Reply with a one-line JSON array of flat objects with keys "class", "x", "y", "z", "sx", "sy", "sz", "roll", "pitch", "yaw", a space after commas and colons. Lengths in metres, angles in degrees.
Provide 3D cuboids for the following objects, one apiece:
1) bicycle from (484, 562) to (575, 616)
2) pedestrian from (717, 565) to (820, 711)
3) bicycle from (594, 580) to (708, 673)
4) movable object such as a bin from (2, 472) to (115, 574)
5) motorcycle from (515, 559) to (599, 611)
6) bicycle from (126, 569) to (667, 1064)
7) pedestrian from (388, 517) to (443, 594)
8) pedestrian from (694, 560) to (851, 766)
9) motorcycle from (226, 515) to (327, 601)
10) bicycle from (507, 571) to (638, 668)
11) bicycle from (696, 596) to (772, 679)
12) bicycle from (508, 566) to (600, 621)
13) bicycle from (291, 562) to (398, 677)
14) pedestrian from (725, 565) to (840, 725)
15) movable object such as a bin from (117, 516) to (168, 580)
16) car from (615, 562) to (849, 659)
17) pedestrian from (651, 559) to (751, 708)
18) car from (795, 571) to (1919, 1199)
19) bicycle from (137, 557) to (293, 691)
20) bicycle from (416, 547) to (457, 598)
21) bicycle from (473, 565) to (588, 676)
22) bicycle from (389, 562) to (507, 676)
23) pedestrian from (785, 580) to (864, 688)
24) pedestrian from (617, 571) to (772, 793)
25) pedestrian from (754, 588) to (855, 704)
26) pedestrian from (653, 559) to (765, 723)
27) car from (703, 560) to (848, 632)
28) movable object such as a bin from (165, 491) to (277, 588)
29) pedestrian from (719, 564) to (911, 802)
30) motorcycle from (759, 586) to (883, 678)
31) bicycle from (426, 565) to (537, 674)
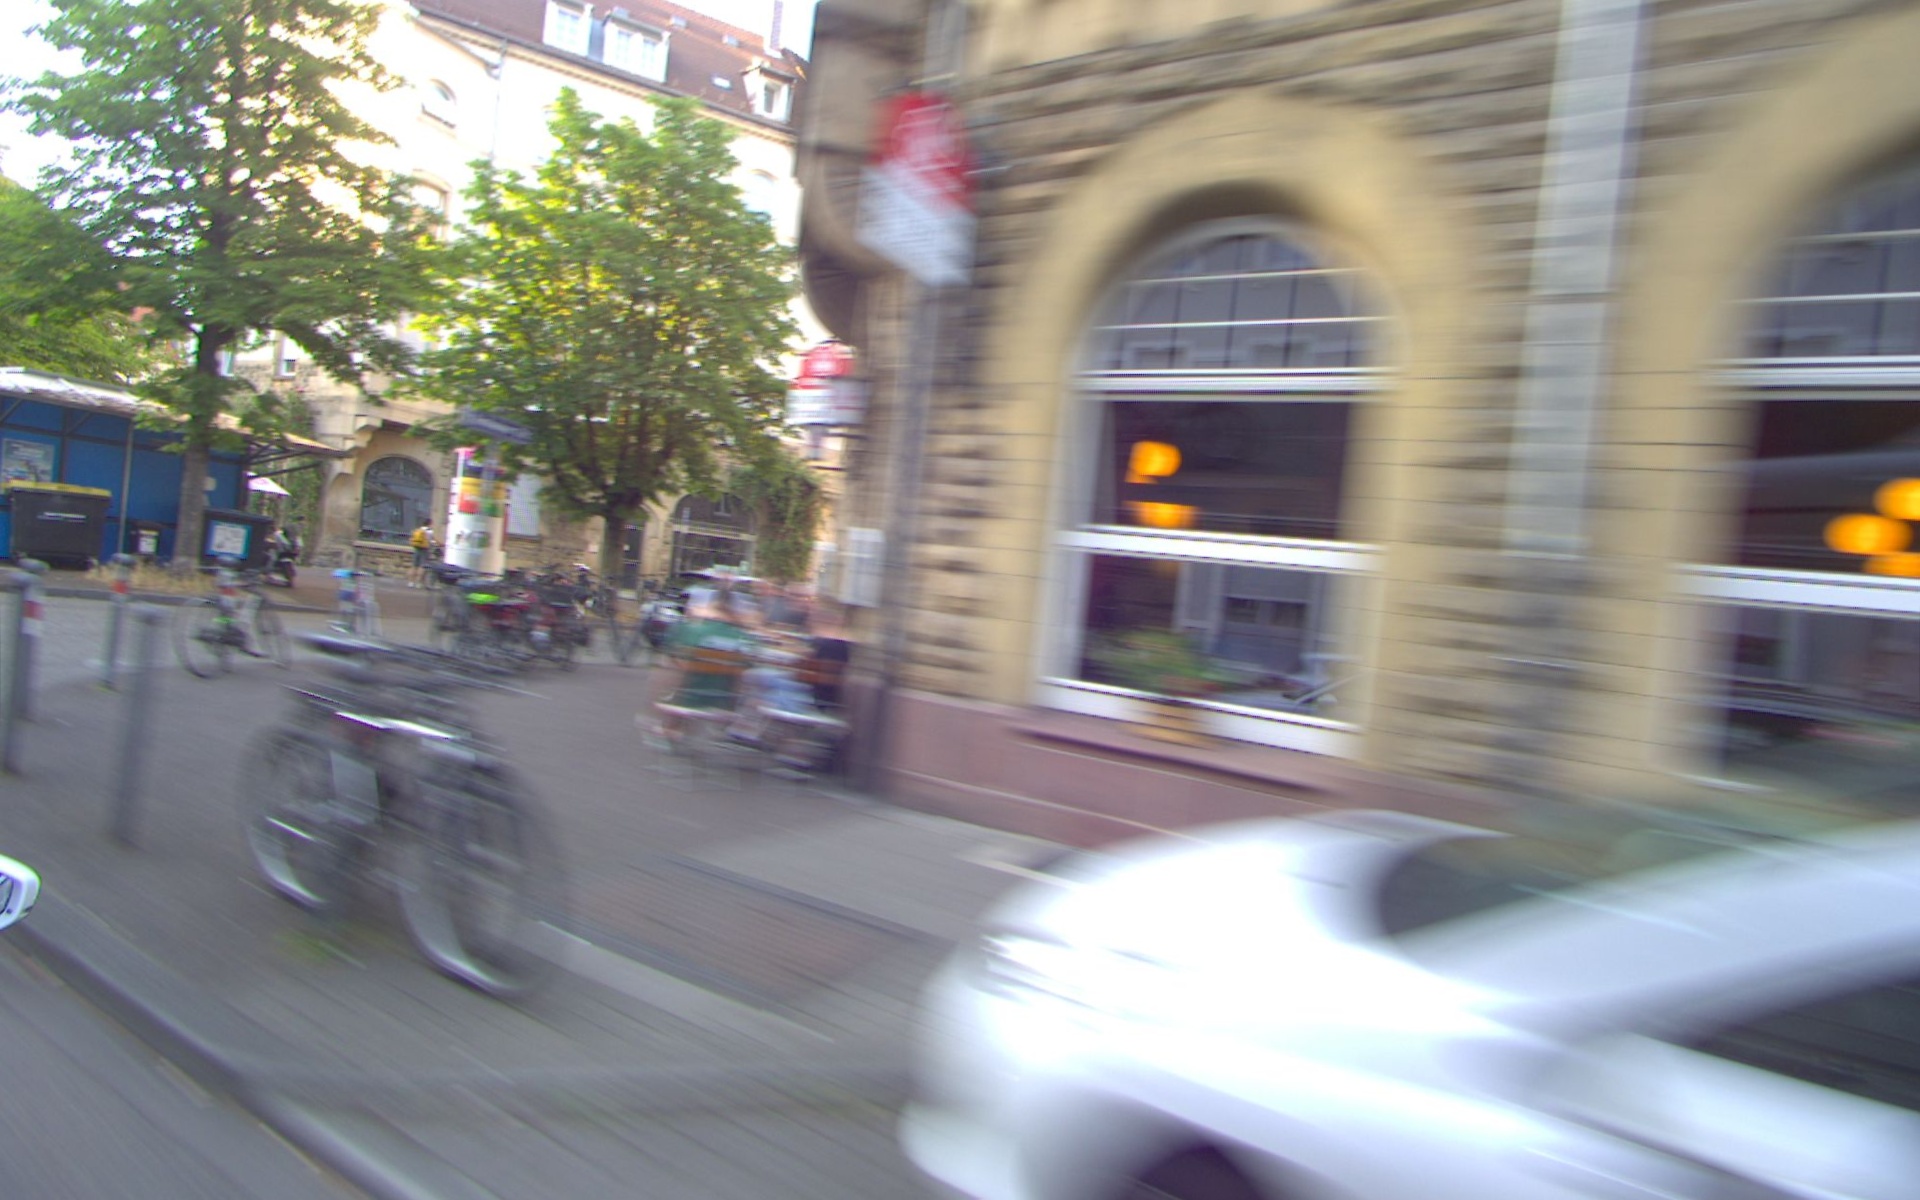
[{"class": "bicycle", "x": -9.255, "y": -0.217, "z": 21.682, "sx": 0.569, "sy": 1.008, "sz": 1.736, "roll": 6, "pitch": 0, "yaw": 31}, {"class": "pedestrian", "x": -2.059, "y": 0.390, "z": 10.700, "sx": 0.829, "sy": 1.414, "sz": 1.100, "roll": 5, "pitch": 0, "yaw": -19}, {"class": "bicycle", "x": -4.346, "y": 0.385, "z": 14.299, "sx": 0.528, "sy": 1.176, "sz": 1.835, "roll": 7, "pitch": 0, "yaw": 16}, {"class": "movable object such as a bin", "x": -14.476, "y": -1.220, "z": 16.165, "sx": 0.754, "sy": 1.496, "sz": 1.219, "roll": 7, "pitch": 4, "yaw": 39}, {"class": "motorcycle", "x": -9.633, "y": -0.346, "z": 24.100, "sx": 0.569, "sy": 1.067, "sz": 1.829, "roll": 6, "pitch": 0, "yaw": 31}, {"class": "bicycle", "x": -2.054, "y": 0.577, "z": 3.530, "sx": 2.080, "sy": 1.167, "sz": 0.684, "roll": 7, "pitch": 4, "yaw": 31}, {"class": "pedestrian", "x": -13.847, "y": -1.125, "z": 25.622, "sx": 0.966, "sy": 1.812, "sz": 1.001, "roll": 5, "pitch": 1, "yaw": -21}, {"class": "pedestrian", "x": -1.469, "y": 0.463, "z": 7.867, "sx": 0.995, "sy": 1.415, "sz": 0.894, "roll": 6, "pitch": 3, "yaw": -13}, {"class": "motorcycle", "x": -13.481, "y": -0.832, "z": 19.834, "sx": 1.851, "sy": 1.472, "sz": 0.868, "roll": 7, "pitch": 1, "yaw": 31}, {"class": "bicycle", "x": -5.193, "y": 0.279, "z": 13.612, "sx": 0.547, "sy": 1.165, "sz": 1.835, "roll": 7, "pitch": 0, "yaw": 16}, {"class": "bicycle", "x": -3.561, "y": 0.560, "z": 15.728, "sx": 0.584, "sy": 1.091, "sz": 1.821, "roll": 6, "pitch": 0, "yaw": -29}, {"class": "bicycle", "x": -8.587, "y": -0.119, "z": 21.351, "sx": 0.569, "sy": 1.008, "sz": 1.736, "roll": 6, "pitch": 0, "yaw": 31}, {"class": "bicycle", "x": -6.353, "y": 0.178, "z": 10.352, "sx": 1.682, "sy": 0.992, "sz": 0.445, "roll": 7, "pitch": 1, "yaw": 43}, {"class": "pedestrian", "x": -1.751, "y": 0.418, "z": 9.796, "sx": 0.829, "sy": 1.414, "sz": 1.099, "roll": 5, "pitch": 0, "yaw": -19}, {"class": "movable object such as a bin", "x": -13.967, "y": -0.884, "z": 17.191, "sx": 0.479, "sy": 1.014, "sz": 0.480, "roll": 7, "pitch": 1, "yaw": 31}, {"class": "car", "x": -4.098, "y": 0.247, "z": 18.681, "sx": 1.853, "sy": 1.401, "sz": 4.028, "roll": 6, "pitch": 0, "yaw": 32}, {"class": "pedestrian", "x": -2.715, "y": 0.337, "z": 10.472, "sx": 0.829, "sy": 1.414, "sz": 1.100, "roll": 5, "pitch": 0, "yaw": -19}, {"class": "car", "x": 1.983, "y": 0.930, "z": 1.622, "sx": 4.392, "sy": 1.505, "sz": 1.762, "roll": 7, "pitch": 3, "yaw": 34}, {"class": "bicycle", "x": -6.512, "y": 0.187, "z": 8.871, "sx": 0.425, "sy": 1.052, "sz": 1.472, "roll": 6, "pitch": 0, "yaw": -11}, {"class": "bicycle", "x": -13.458, "y": -0.710, "z": 25.896, "sx": 0.626, "sy": 1.203, "sz": 1.904, "roll": 5, "pitch": 1, "yaw": -21}, {"class": "bicycle", "x": -5.183, "y": 0.224, "z": 12.092, "sx": 1.810, "sy": 1.126, "sz": 0.500, "roll": 7, "pitch": 1, "yaw": 43}, {"class": "bicycle", "x": -5.733, "y": 0.188, "z": 11.219, "sx": 1.810, "sy": 1.080, "sz": 0.510, "roll": 7, "pitch": 1, "yaw": 43}, {"class": "pedestrian", "x": -1.925, "y": 0.480, "z": 14.364, "sx": 0.779, "sy": 1.422, "sz": 0.715, "roll": 7, "pitch": 1, "yaw": 14}, {"class": "pedestrian", "x": -1.778, "y": 0.500, "z": 6.884, "sx": 0.827, "sy": 1.303, "sz": 1.415, "roll": 5, "pitch": 2, "yaw": -12}, {"class": "pedestrian", "x": -1.906, "y": 0.560, "z": 12.371, "sx": 0.862, "sy": 1.299, "sz": 0.705, "roll": 7, "pitch": 1, "yaw": 25}, {"class": "pedestrian", "x": -2.410, "y": 0.371, "z": 9.562, "sx": 0.829, "sy": 1.414, "sz": 1.099, "roll": 5, "pitch": 0, "yaw": -19}, {"class": "car", "x": -5.056, "y": -0.053, "z": 28.080, "sx": 1.795, "sy": 1.501, "sz": 3.903, "roll": 7, "pitch": -1, "yaw": 29}, {"class": "movable object such as a bin", "x": -13.308, "y": -1.084, "z": 18.142, "sx": 0.807, "sy": 1.491, "sz": 1.282, "roll": 7, "pitch": -3, "yaw": 39}, {"class": "pedestrian", "x": -1.013, "y": 0.529, "z": 6.830, "sx": 0.832, "sy": 1.415, "sz": 1.095, "roll": 4, "pitch": 3, "yaw": -30}, {"class": "motorcycle", "x": -2.379, "y": 0.542, "z": 17.188, "sx": 1.966, "sy": 1.370, "sz": 0.639, "roll": 5, "pitch": 0, "yaw": 24}, {"class": "bicycle", "x": -5.631, "y": 0.207, "z": 11.789, "sx": 1.810, "sy": 1.084, "sz": 0.473, "roll": 7, "pitch": 1, "yaw": 43}]
